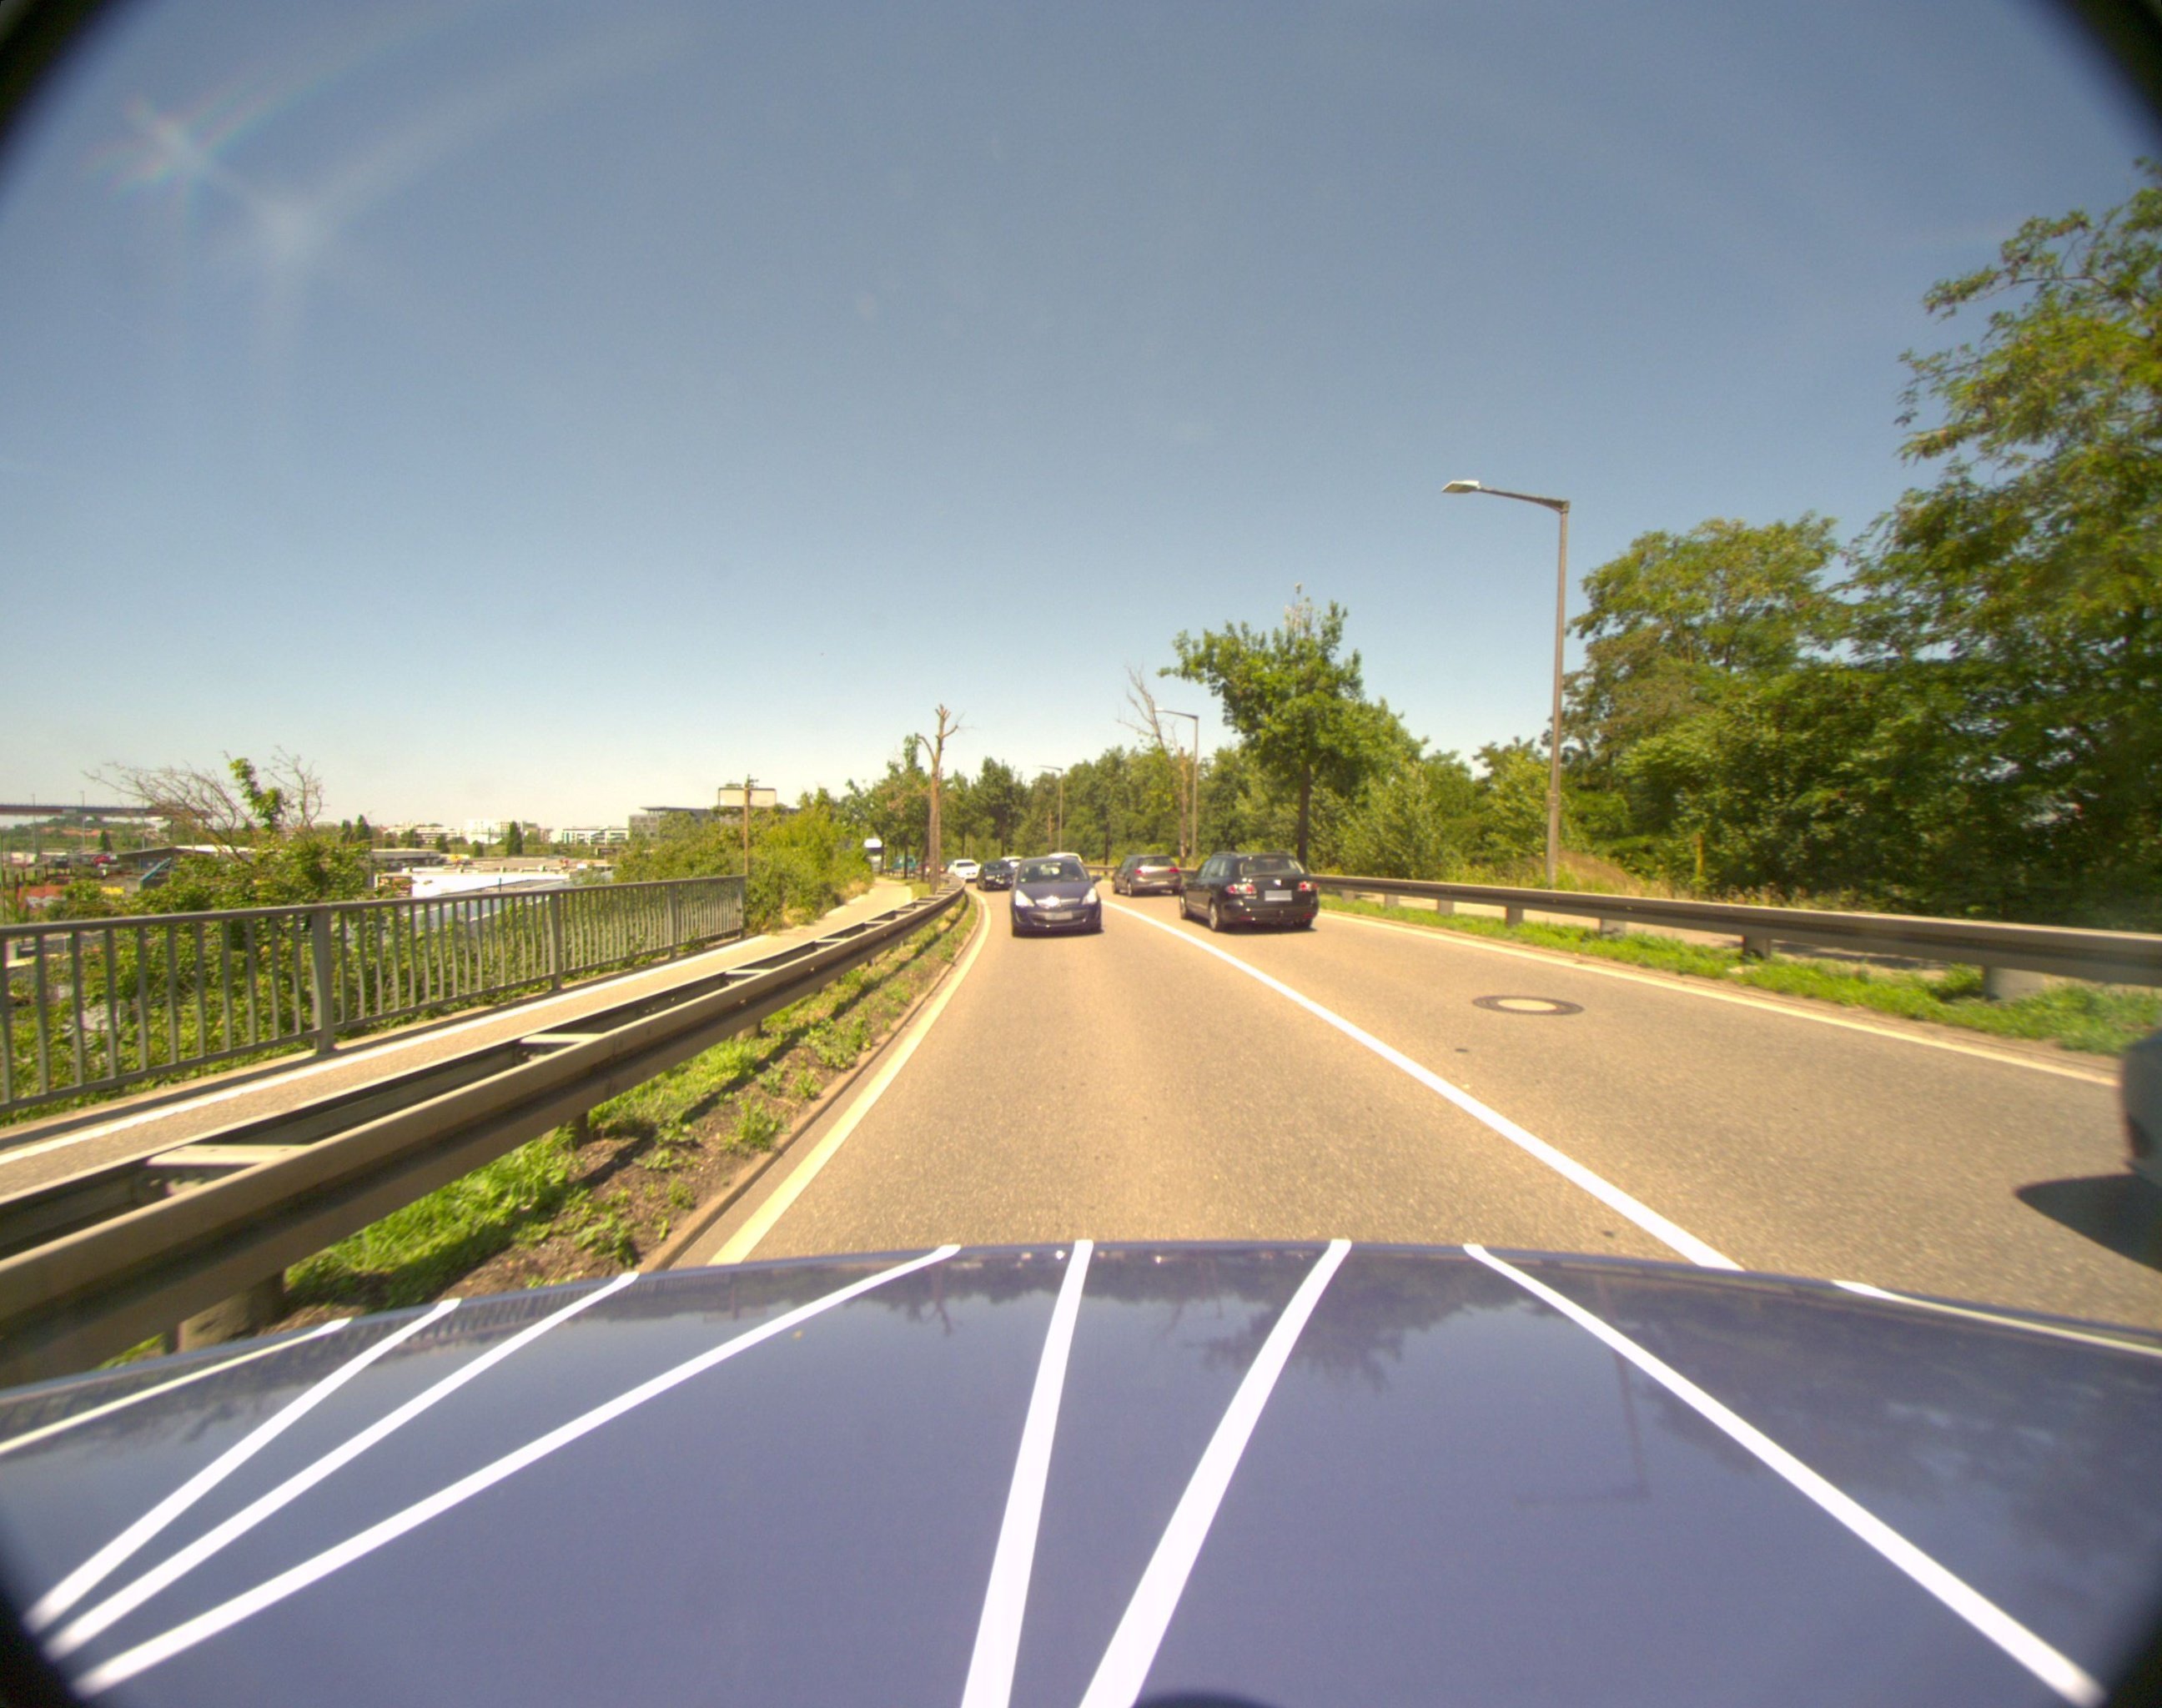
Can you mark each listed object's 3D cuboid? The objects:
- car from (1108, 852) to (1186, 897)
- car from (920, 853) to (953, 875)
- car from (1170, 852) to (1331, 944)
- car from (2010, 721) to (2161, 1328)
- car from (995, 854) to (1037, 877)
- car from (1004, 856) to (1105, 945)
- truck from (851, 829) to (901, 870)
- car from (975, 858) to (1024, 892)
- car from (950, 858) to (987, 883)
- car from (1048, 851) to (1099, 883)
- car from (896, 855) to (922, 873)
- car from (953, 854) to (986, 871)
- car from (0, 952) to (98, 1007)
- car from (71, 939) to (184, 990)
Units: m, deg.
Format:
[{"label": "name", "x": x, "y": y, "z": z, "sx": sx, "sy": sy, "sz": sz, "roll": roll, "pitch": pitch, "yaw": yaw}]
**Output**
[{"label": "car", "x": 2.234, "y": 0.670, "z": 26.875, "sx": 1.722, "sy": 1.419, "sz": 4.103, "roll": -2, "pitch": 0, "yaw": -10}, {"label": "car", "x": -12.230, "y": 0.826, "z": 64.165, "sx": 1.904, "sy": 1.645, "sz": 4.249, "roll": -2, "pitch": 2, "yaw": -22}, {"label": "car", "x": 3.086, "y": 0.713, "z": 14.862, "sx": 1.762, "sy": 1.434, "sz": 4.566, "roll": -2, "pitch": 1, "yaw": -4}, {"label": "car", "x": 4.141, "y": 0.507, "z": 0.524, "sx": 1.761, "sy": 1.844, "sz": 4.274, "roll": -2, "pitch": 1, "yaw": 0}, {"label": "car", "x": -4.671, "y": 0.806, "z": 54.167, "sx": 1.708, "sy": 1.438, "sz": 4.452, "roll": -3, "pitch": 0, "yaw": -21}, {"label": "car", "x": -0.624, "y": 0.828, "z": 15.507, "sx": 1.699, "sy": 1.459, "sz": 4.381, "roll": -2, "pitch": 0, "yaw": -4}, {"label": "truck", "x": -23.273, "y": -0.429, "z": 85.803, "sx": 2.864, "sy": 4.244, "sz": 8.795, "roll": -3, "pitch": 1, "yaw": -32}, {"label": "car", "x": -3.884, "y": 0.943, "z": 35.832, "sx": 1.571, "sy": 1.408, "sz": 4.116, "roll": -3, "pitch": 0, "yaw": -16}, {"label": "car", "x": -7.212, "y": 1.032, "z": 48.412, "sx": 1.819, "sy": 1.420, "sz": 3.710, "roll": -3, "pitch": 0, "yaw": -16}, {"label": "car", "x": -0.478, "y": 0.677, "z": 41.177, "sx": 1.752, "sy": 1.537, "sz": 4.387, "roll": -2, "pitch": 0, "yaw": -14}, {"label": "car", "x": -19.797, "y": 1.140, "z": 87.253, "sx": 1.838, "sy": 1.927, "sz": 4.765, "roll": -2, "pitch": 1, "yaw": -27}, {"label": "car", "x": -10.292, "y": 0.760, "z": 69.862, "sx": 1.854, "sy": 1.459, "sz": 4.732, "roll": -3, "pitch": 0, "yaw": -22}, {"label": "car", "x": -57.762, "y": 6.935, "z": 41.792, "sx": 2.154, "sy": 2.338, "sz": 4.920, "roll": -7, "pitch": 1, "yaw": -22}, {"label": "car", "x": -60.355, "y": 6.917, "z": 48.243, "sx": 2.154, "sy": 2.338, "sz": 4.920, "roll": -7, "pitch": 1, "yaw": -23}]
